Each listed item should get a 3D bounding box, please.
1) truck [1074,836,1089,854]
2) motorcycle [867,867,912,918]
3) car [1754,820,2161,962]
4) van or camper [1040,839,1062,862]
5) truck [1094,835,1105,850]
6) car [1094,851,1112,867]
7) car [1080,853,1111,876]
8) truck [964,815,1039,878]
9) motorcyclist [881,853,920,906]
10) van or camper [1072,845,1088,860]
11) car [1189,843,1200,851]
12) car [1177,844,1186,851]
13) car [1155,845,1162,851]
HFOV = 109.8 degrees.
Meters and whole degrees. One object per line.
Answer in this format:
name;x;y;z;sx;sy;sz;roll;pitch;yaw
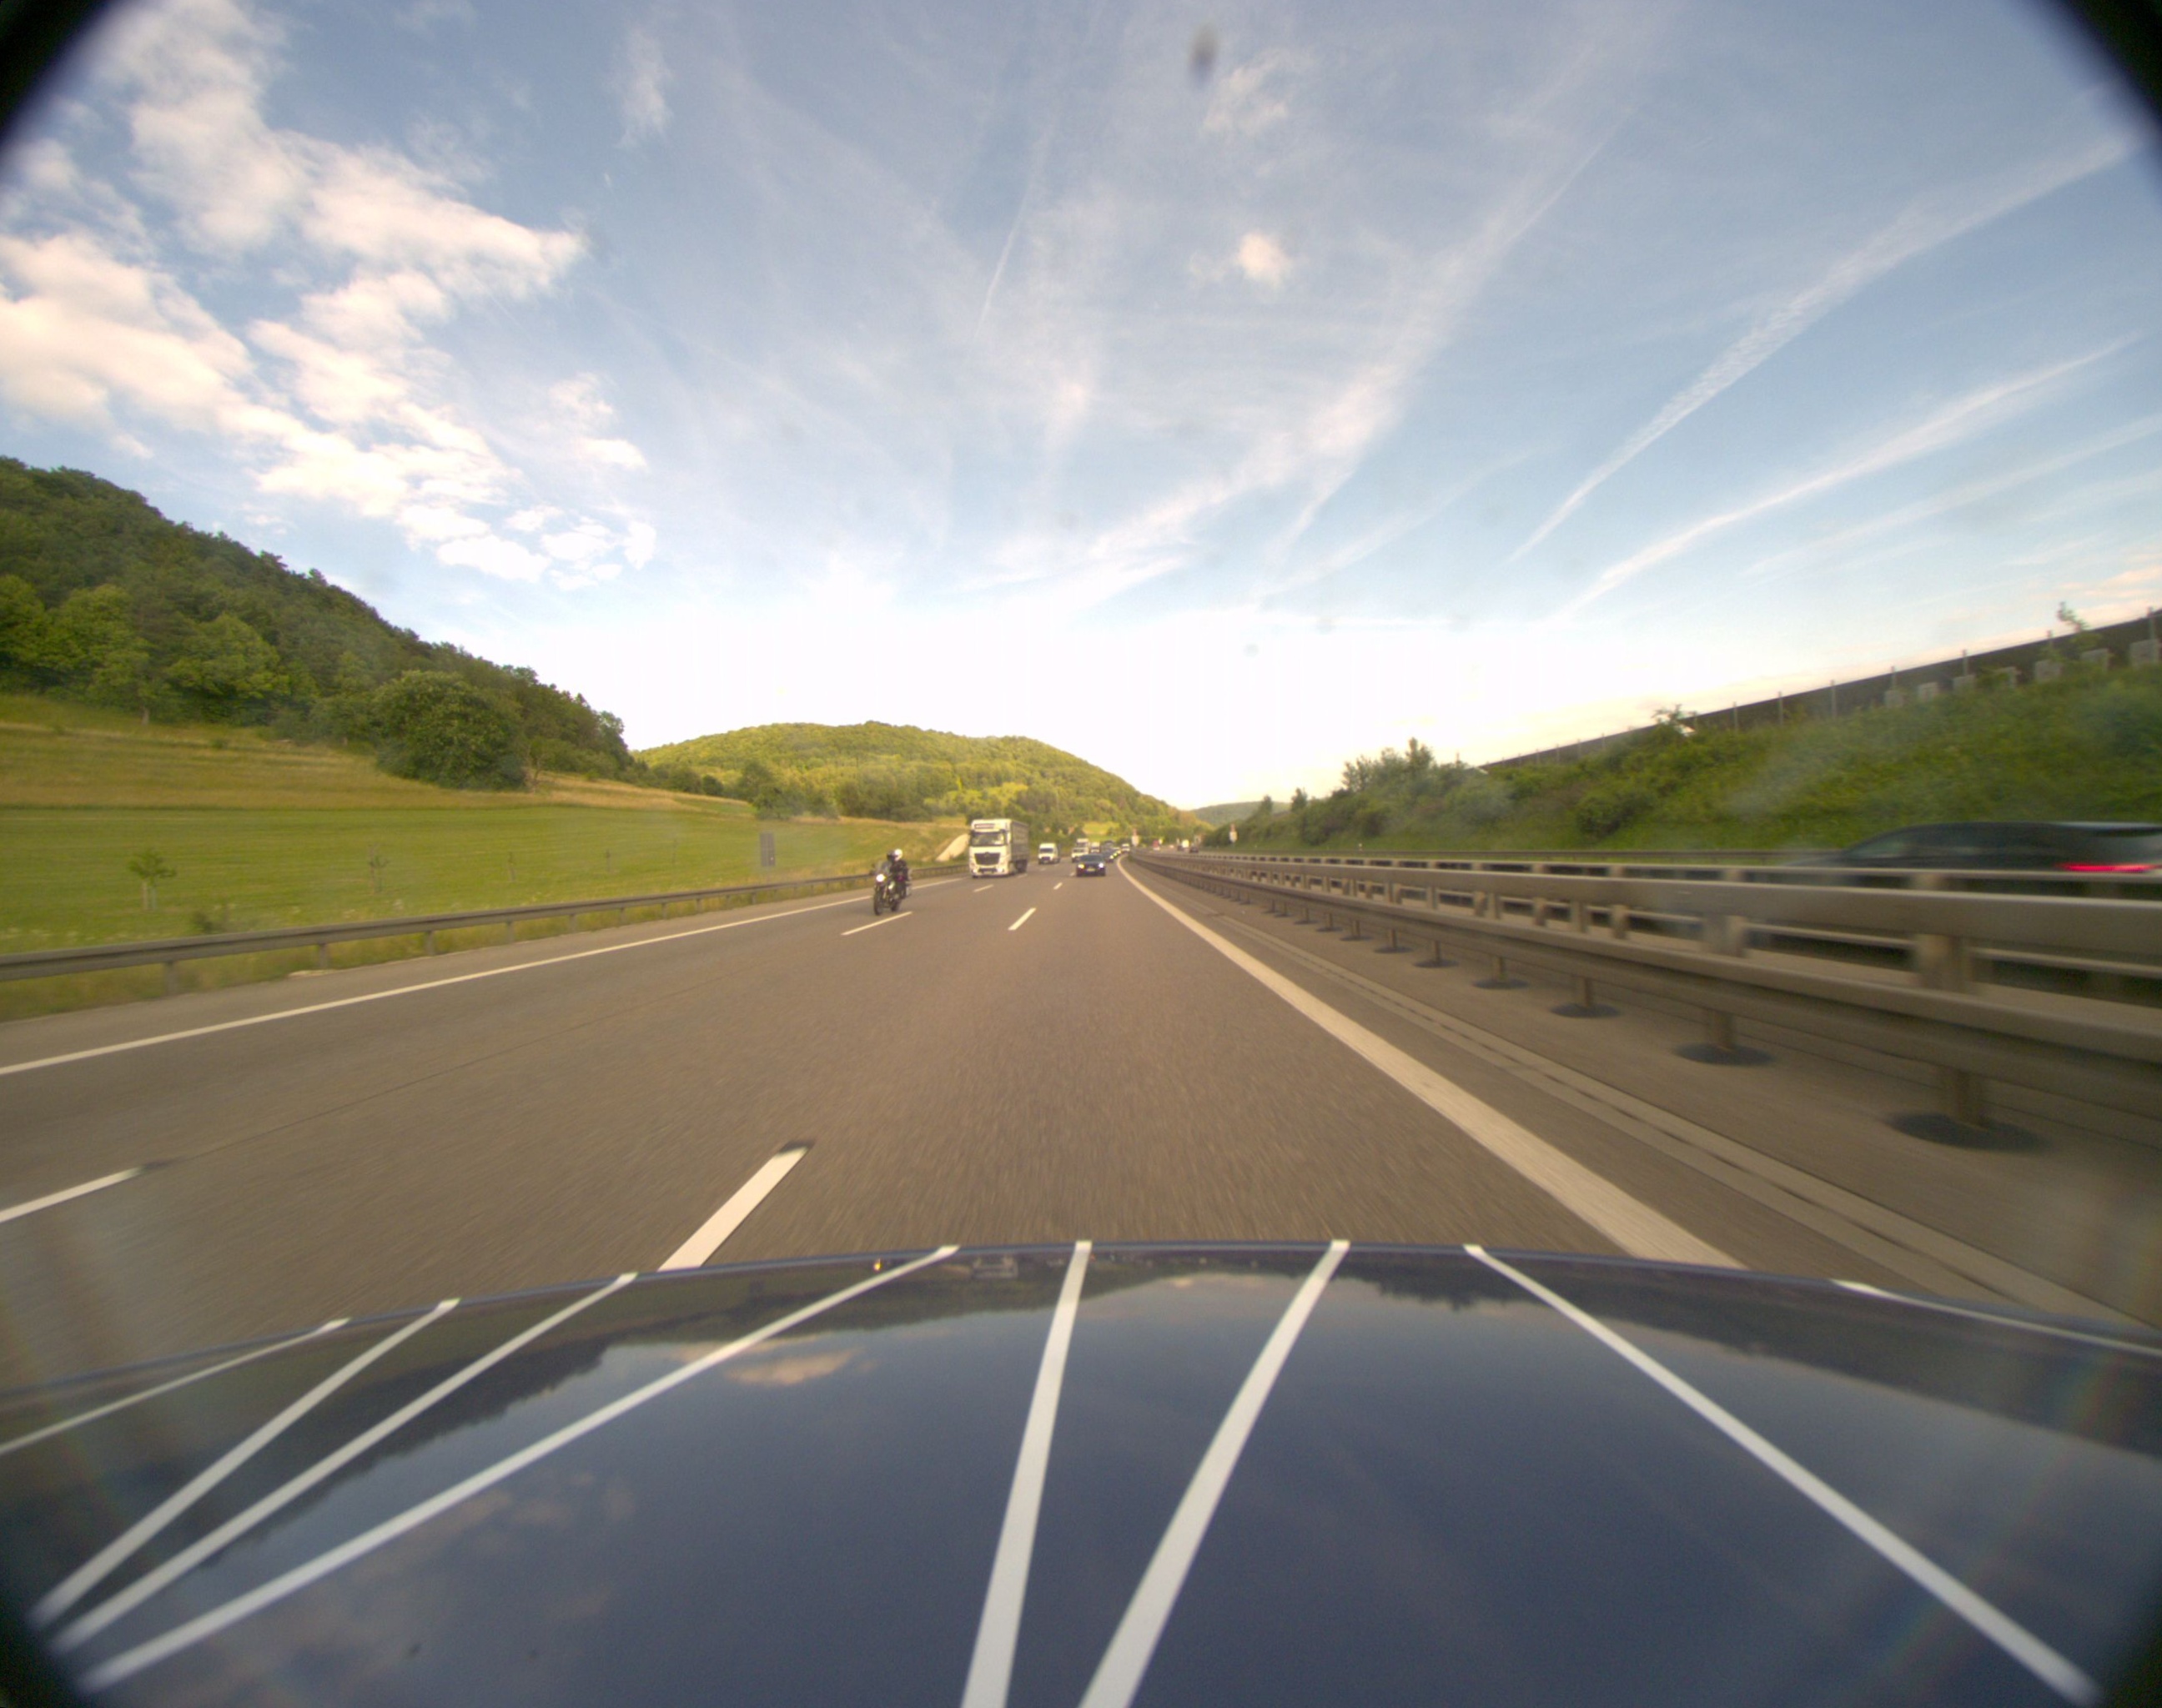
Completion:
truck;0.143;-1.963;170.341;2.925;3.876;13.008;-2;1;0
motorcycle;-5.401;1.056;21.519;0.628;1.331;1.739;-2;1;7
car;12.108;0.336;10.190;1.999;1.422;4.585;-3;1;-2
van or camper;-3.827;-0.478;96.842;1.998;2.701;7.524;-2;0;3
truck;4.939;-3.048;203.507;2.708;3.627;9.034;-2;1;3
car;2.650;0.605;92.159;1.998;1.871;4.000;-1;0;0
car;0.950;0.627;47.894;1.580;1.310;4.001;-2;1;5
truck;-5.648;-0.614;58.188;2.971;3.969;17.732;-2;1;2
motorcyclist;-5.306;0.738;22.378;0.879;1.506;0.797;-3;1;2
van or camper;-0.155;-0.278;101.769;1.998;1.881;4.487;-2;1;1
car;23.294;-1.475;156.232;1.710;1.407;4.000;-2;1;2
car;29.818;-1.856;225.221;1.967;2.028;5.019;-3;1;3
car;24.830;-1.891;242.796;1.837;1.582;5.019;-3;1;3
